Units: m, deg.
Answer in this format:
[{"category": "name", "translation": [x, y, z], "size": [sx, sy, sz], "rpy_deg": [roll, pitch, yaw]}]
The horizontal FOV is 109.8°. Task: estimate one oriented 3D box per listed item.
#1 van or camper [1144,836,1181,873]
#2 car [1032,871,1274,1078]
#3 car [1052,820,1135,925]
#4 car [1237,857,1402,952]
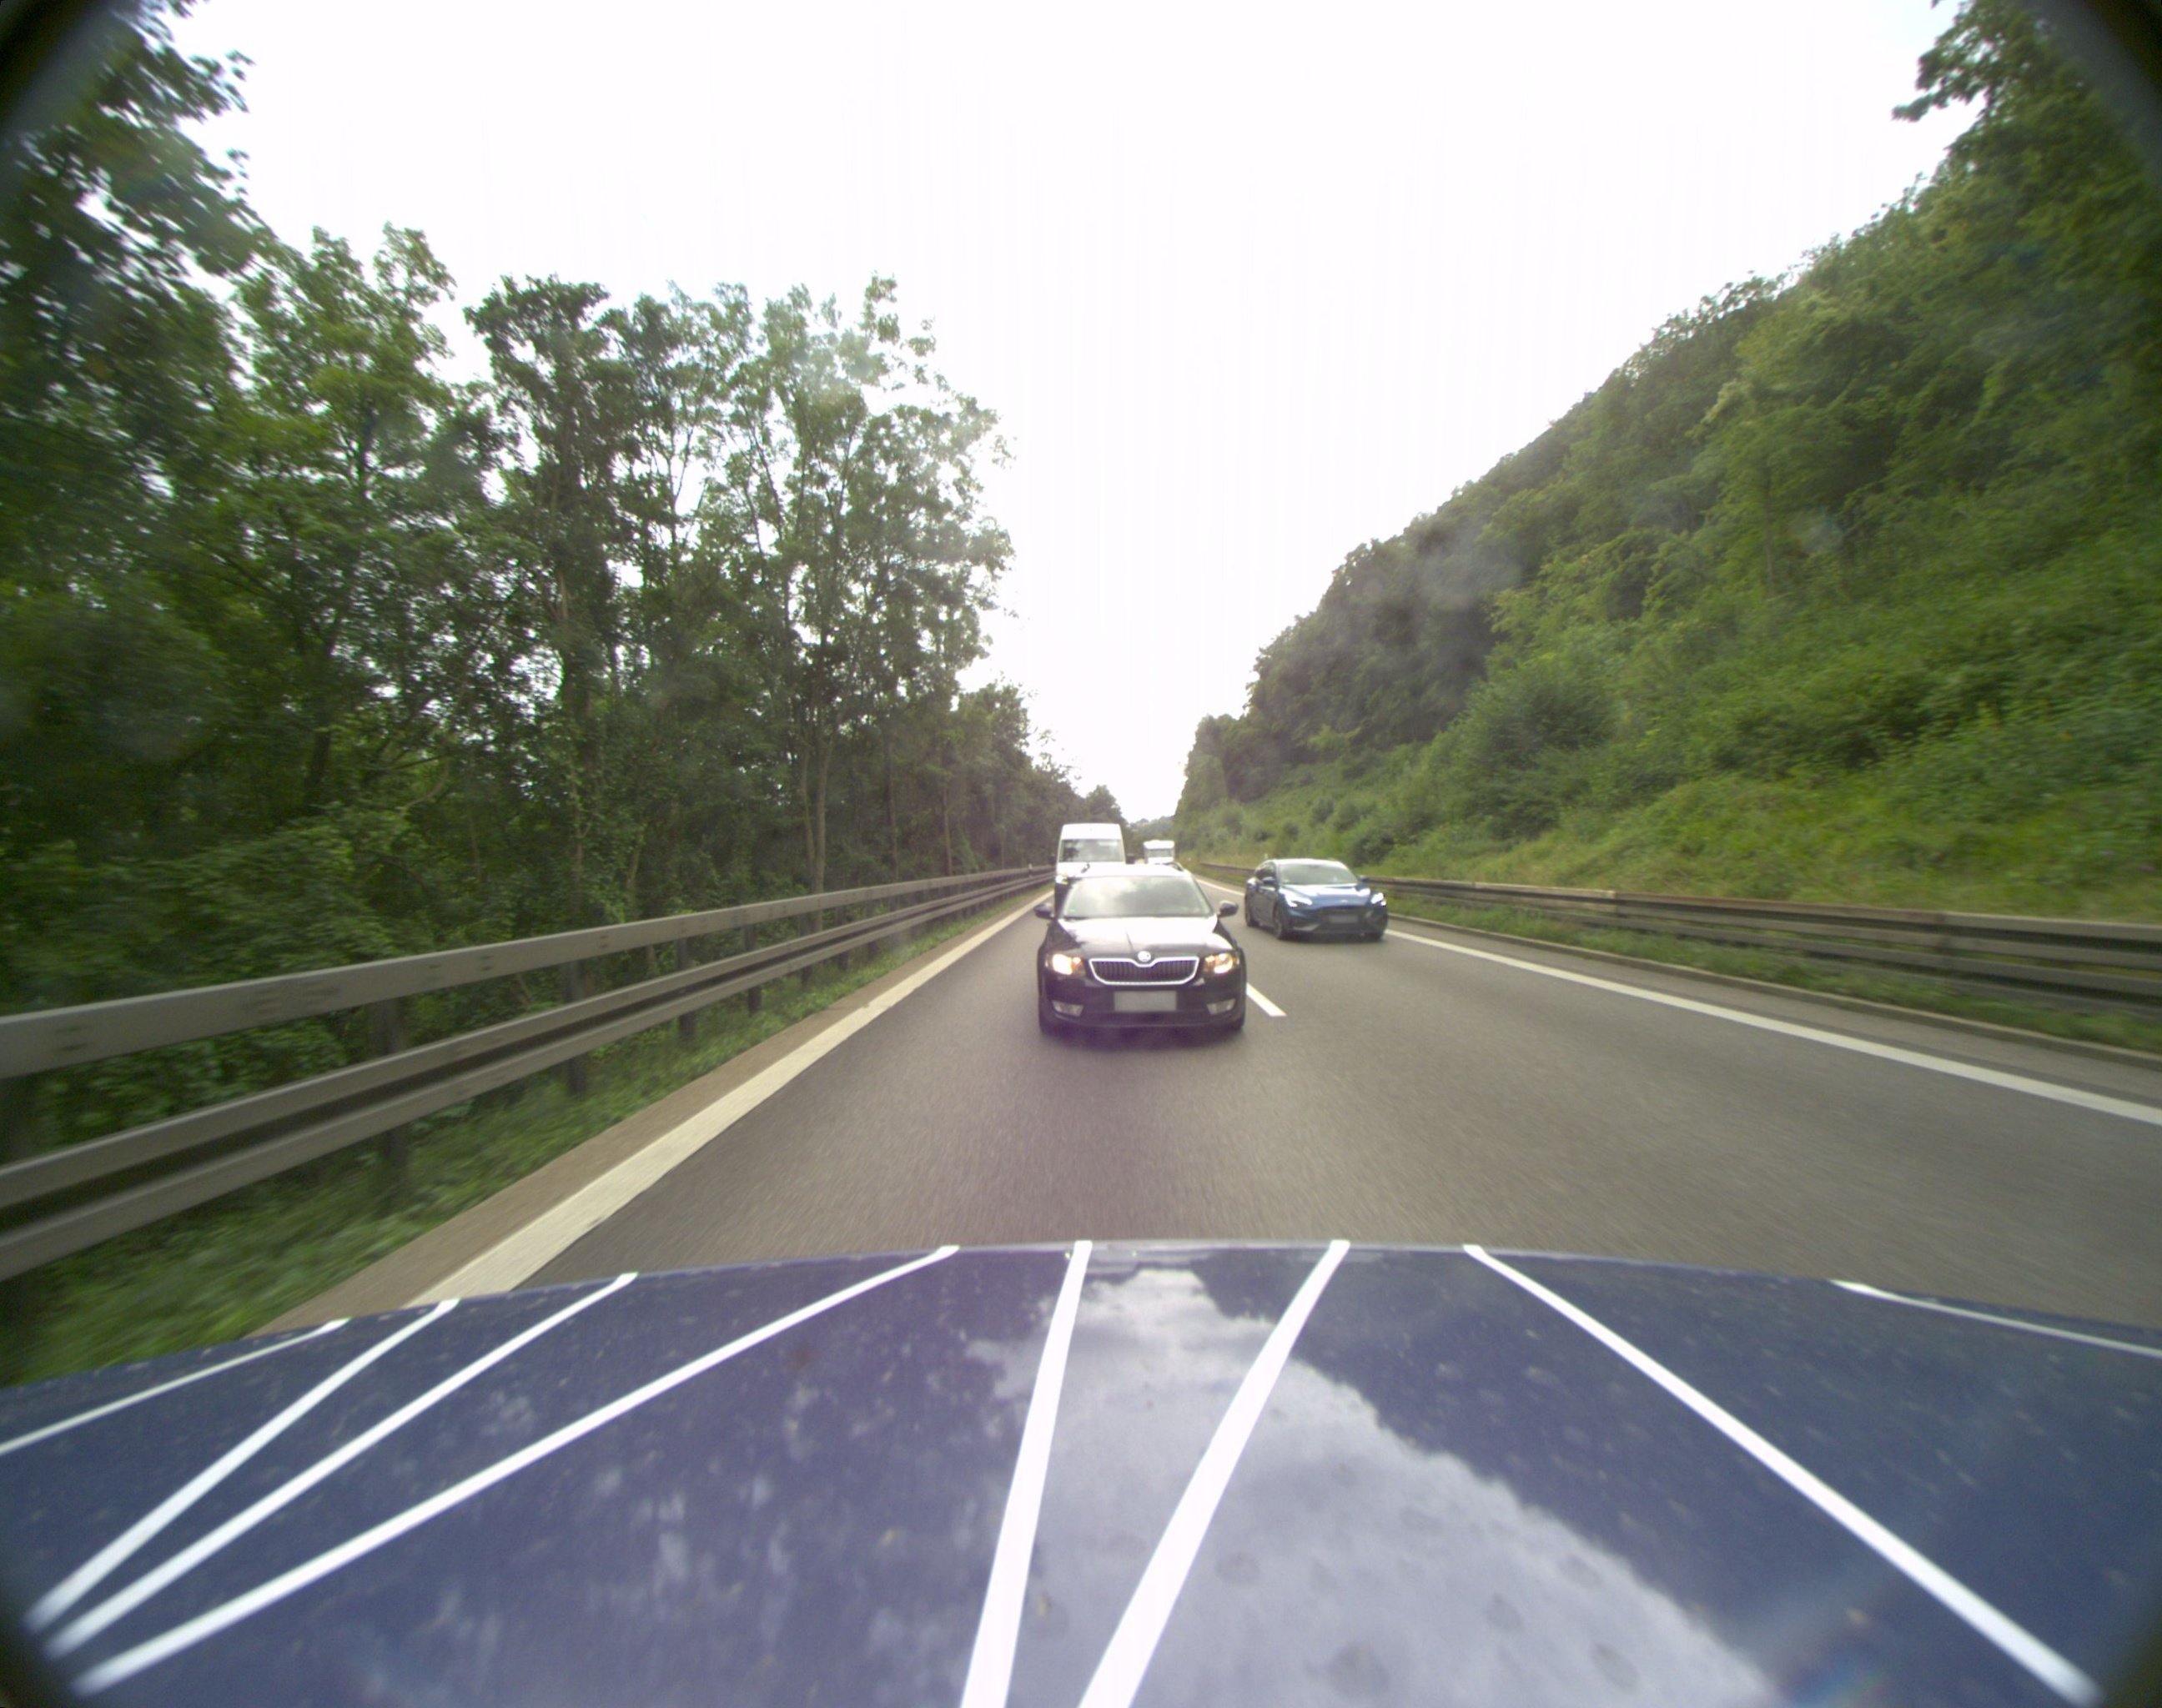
[{"category": "van or camper", "translation": [6.245, 0.038, 59.103], "size": [2.270, 2.719, 7.025], "rpy_deg": [-1, 0, 2]}, {"category": "car", "translation": [0.525, 0.931, 7.746], "size": [1.751, 1.409, 4.401], "rpy_deg": [-1, 0, 0]}, {"category": "car", "translation": [0.381, 0.435, 21.139], "size": [2.001, 2.545, 5.128], "rpy_deg": [-1, 0, 2]}, {"category": "car", "translation": [4.304, 0.828, 14.505], "size": [1.840, 1.460, 4.555], "rpy_deg": [-1, 0, 2]}]
